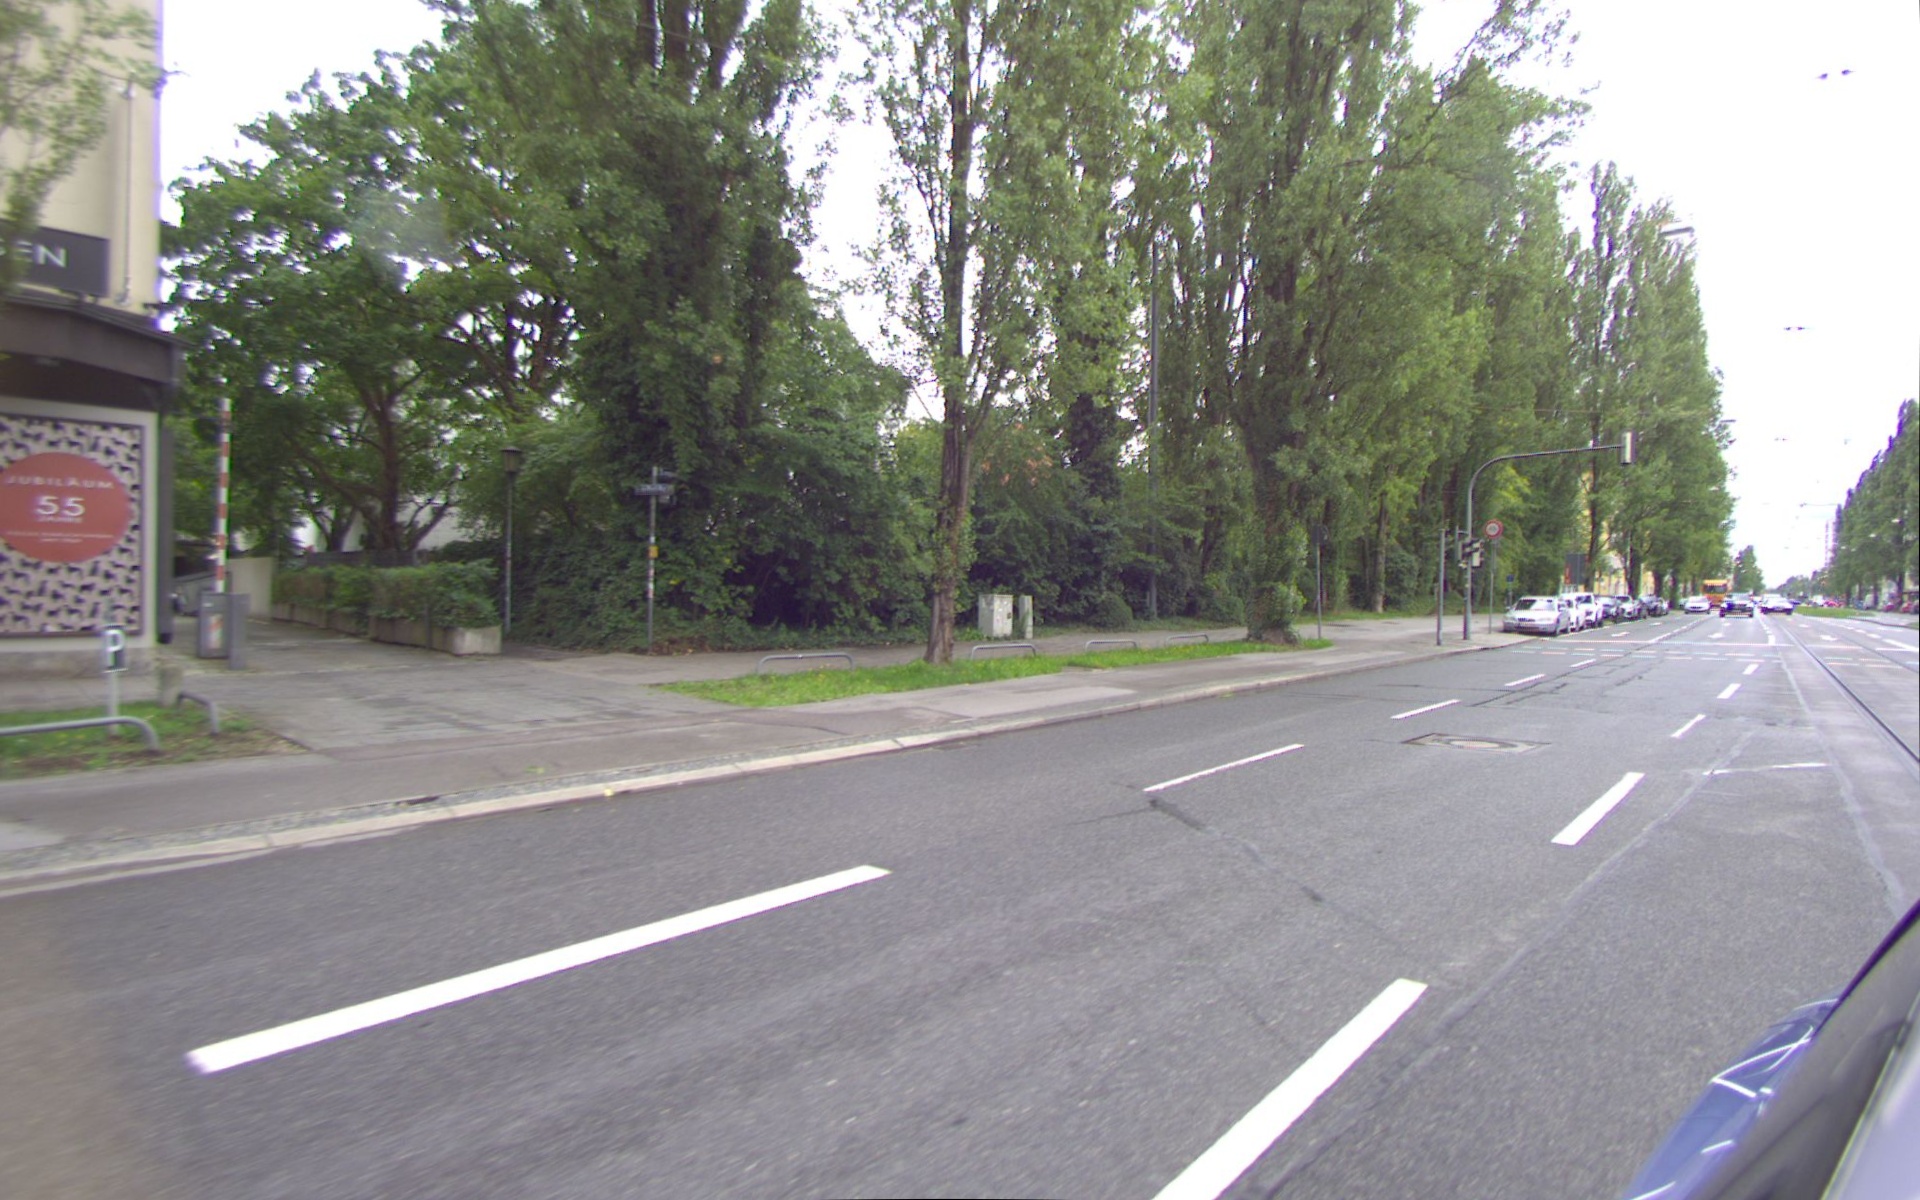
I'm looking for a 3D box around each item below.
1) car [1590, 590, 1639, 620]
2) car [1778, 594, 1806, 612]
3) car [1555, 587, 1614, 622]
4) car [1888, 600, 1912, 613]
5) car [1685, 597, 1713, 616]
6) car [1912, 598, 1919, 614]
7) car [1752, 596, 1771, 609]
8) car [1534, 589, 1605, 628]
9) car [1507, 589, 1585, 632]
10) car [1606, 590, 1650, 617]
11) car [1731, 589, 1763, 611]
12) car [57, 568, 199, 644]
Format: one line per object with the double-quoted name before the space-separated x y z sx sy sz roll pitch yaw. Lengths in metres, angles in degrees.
"car" 35.206 0.241 54.411 1.778 1.504 4.080 1 1 39
"car" 71.252 0.232 86.686 1.778 1.504 4.080 1 1 39
"car" 28.527 0.156 46.190 1.778 1.504 4.080 1 1 39
"car" 130.871 0.876 140.937 1.989 1.728 3.946 1 -1 37
"car" 64.698 0.560 88.586 1.778 1.504 4.080 1 1 39
"car" 111.644 0.687 117.043 1.808 1.739 3.946 1 -1 37
"car" 97.862 0.340 123.511 1.778 1.504 4.080 1 1 39
"car" 25.637 0.319 42.495 1.780 1.504 4.194 1 1 42
"car" 22.092 0.340 38.061 1.779 1.504 4.288 1 1 41
"car" 39.704 0.191 60.099 1.778 1.504 4.080 1 1 39
"car" 56.951 -0.015 73.210 1.778 1.504 4.080 1 1 39
"car" -17.679 0.071 21.444 3.983 1.460 1.705 2 1 41
